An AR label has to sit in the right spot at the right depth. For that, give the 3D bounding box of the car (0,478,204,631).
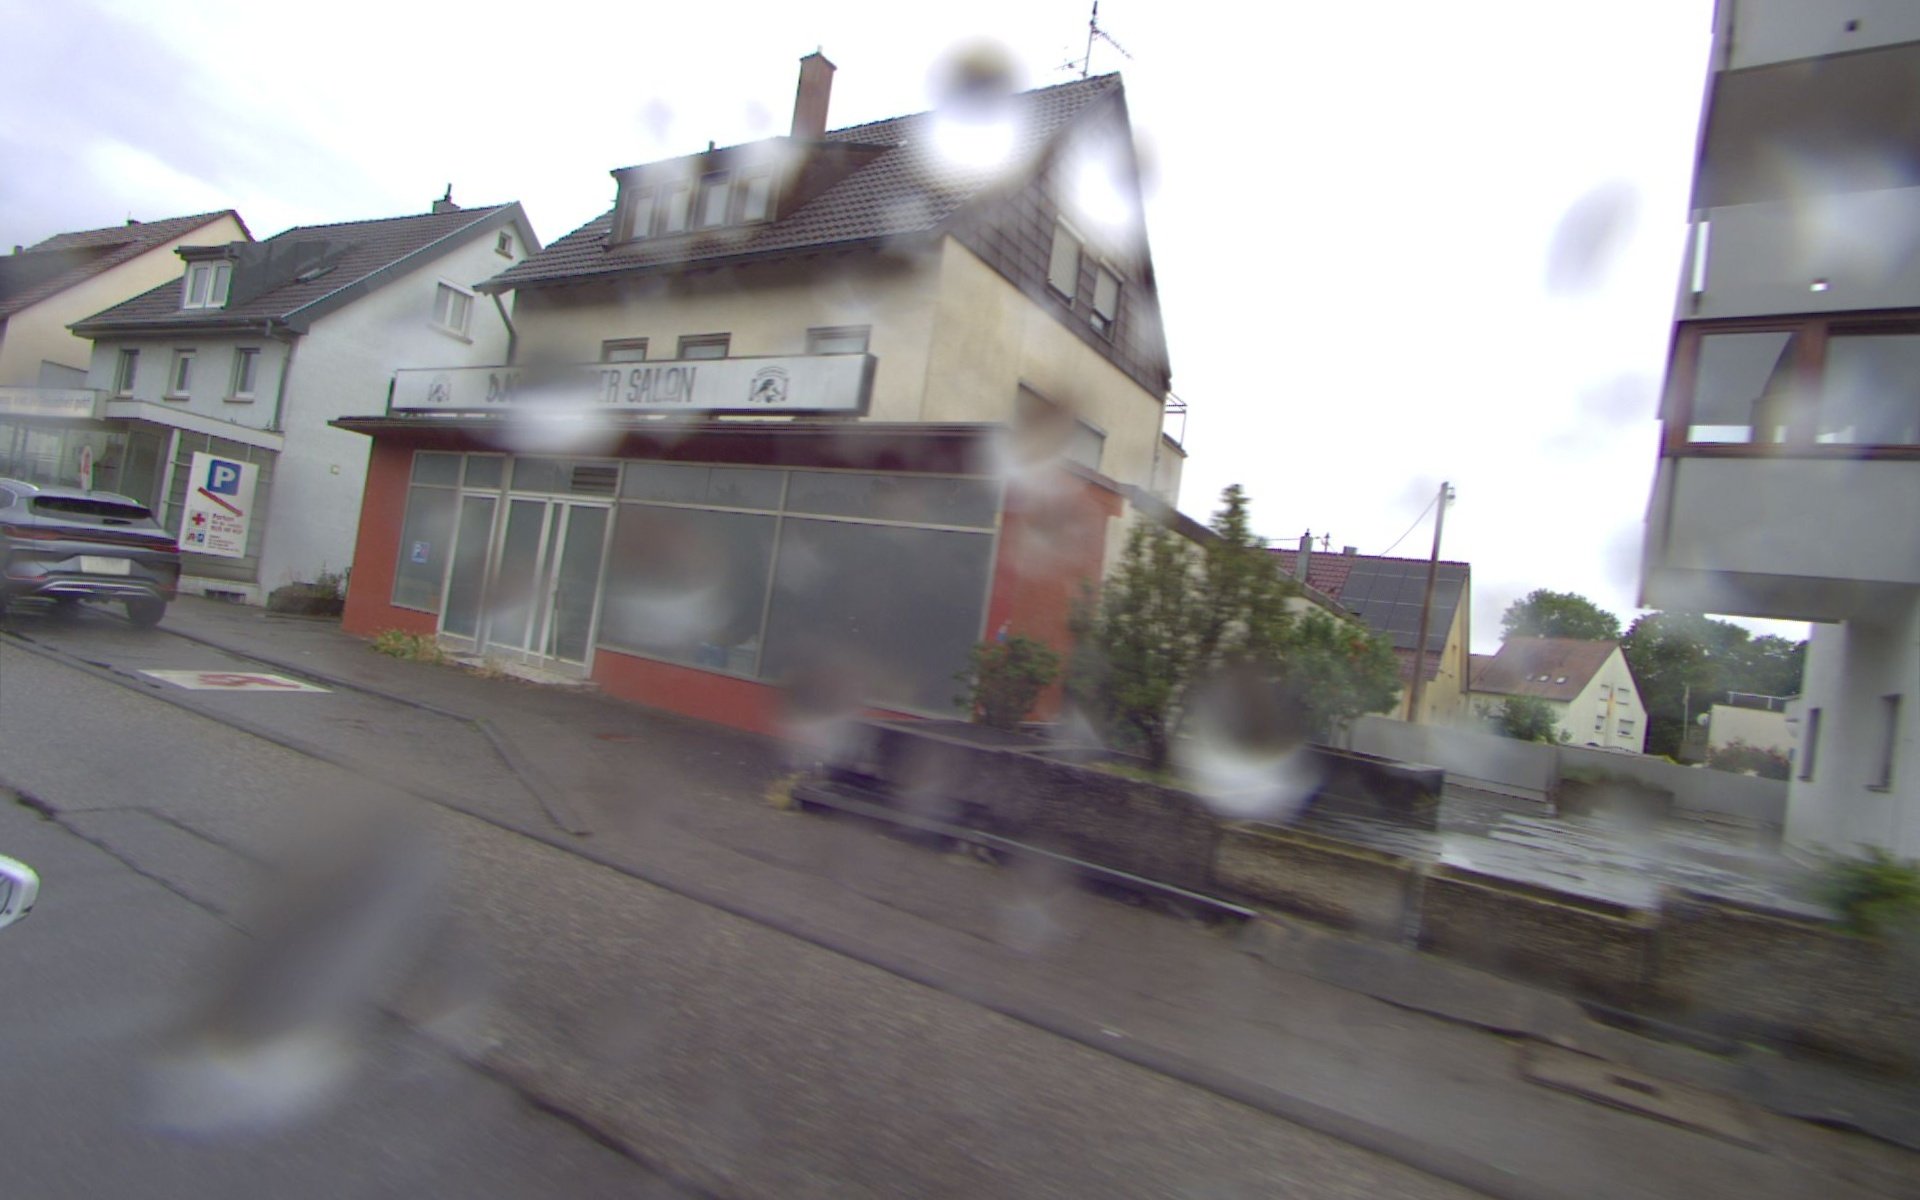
[{"bbox_3d":[-12.522,-0.713,13.610,4.711,1.663,1.878,6,-1,30],"label":"car"}]
